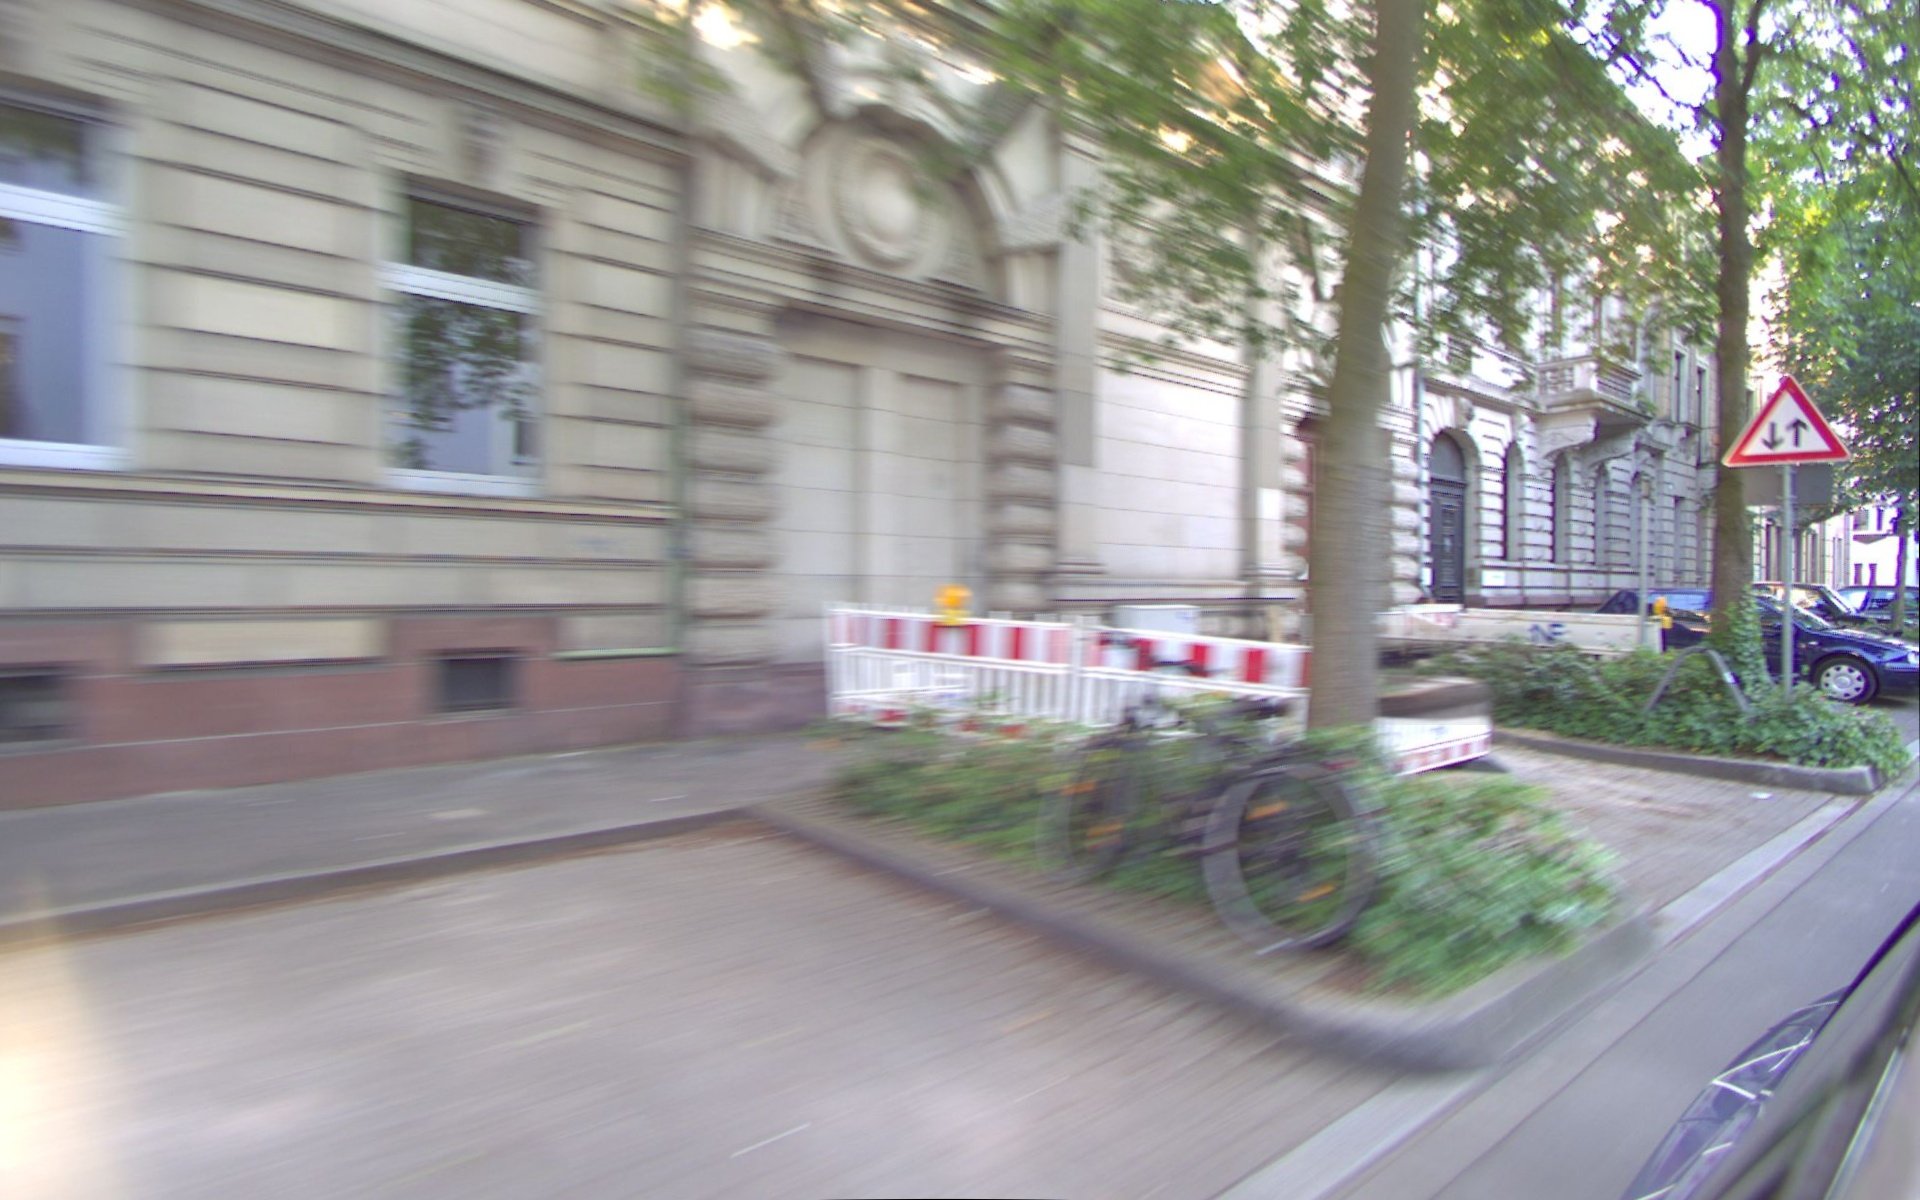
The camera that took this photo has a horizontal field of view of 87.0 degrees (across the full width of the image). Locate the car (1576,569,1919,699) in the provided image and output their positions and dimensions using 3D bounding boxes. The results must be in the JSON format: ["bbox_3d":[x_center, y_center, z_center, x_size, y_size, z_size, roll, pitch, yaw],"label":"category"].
[{"bbox_3d":[11.605,0.383,14.626,1.822,1.499,4.234,-1,4,-40],"label":"car"}]

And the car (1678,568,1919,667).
[{"bbox_3d":[16.253,0.265,19.160,1.733,1.708,4.016,0,1,-40],"label":"car"}]

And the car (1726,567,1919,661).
[{"bbox_3d":[18.409,0.231,20.367,1.933,1.738,4.450,-1,3,-40],"label":"car"}]

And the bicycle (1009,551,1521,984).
[{"bbox_3d":[1.101,0.545,4.167,0.499,1.378,2.049,0,-1,-41],"label":"bicycle"}]

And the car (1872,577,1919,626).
[{"bbox_3d":[30.838,0.122,31.147,1.750,1.445,3.874,0,4,-41],"label":"car"}]

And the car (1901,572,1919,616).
[{"bbox_3d":[36.467,-0.080,35.672,1.830,1.580,4.432,1,3,-33],"label":"car"}]
